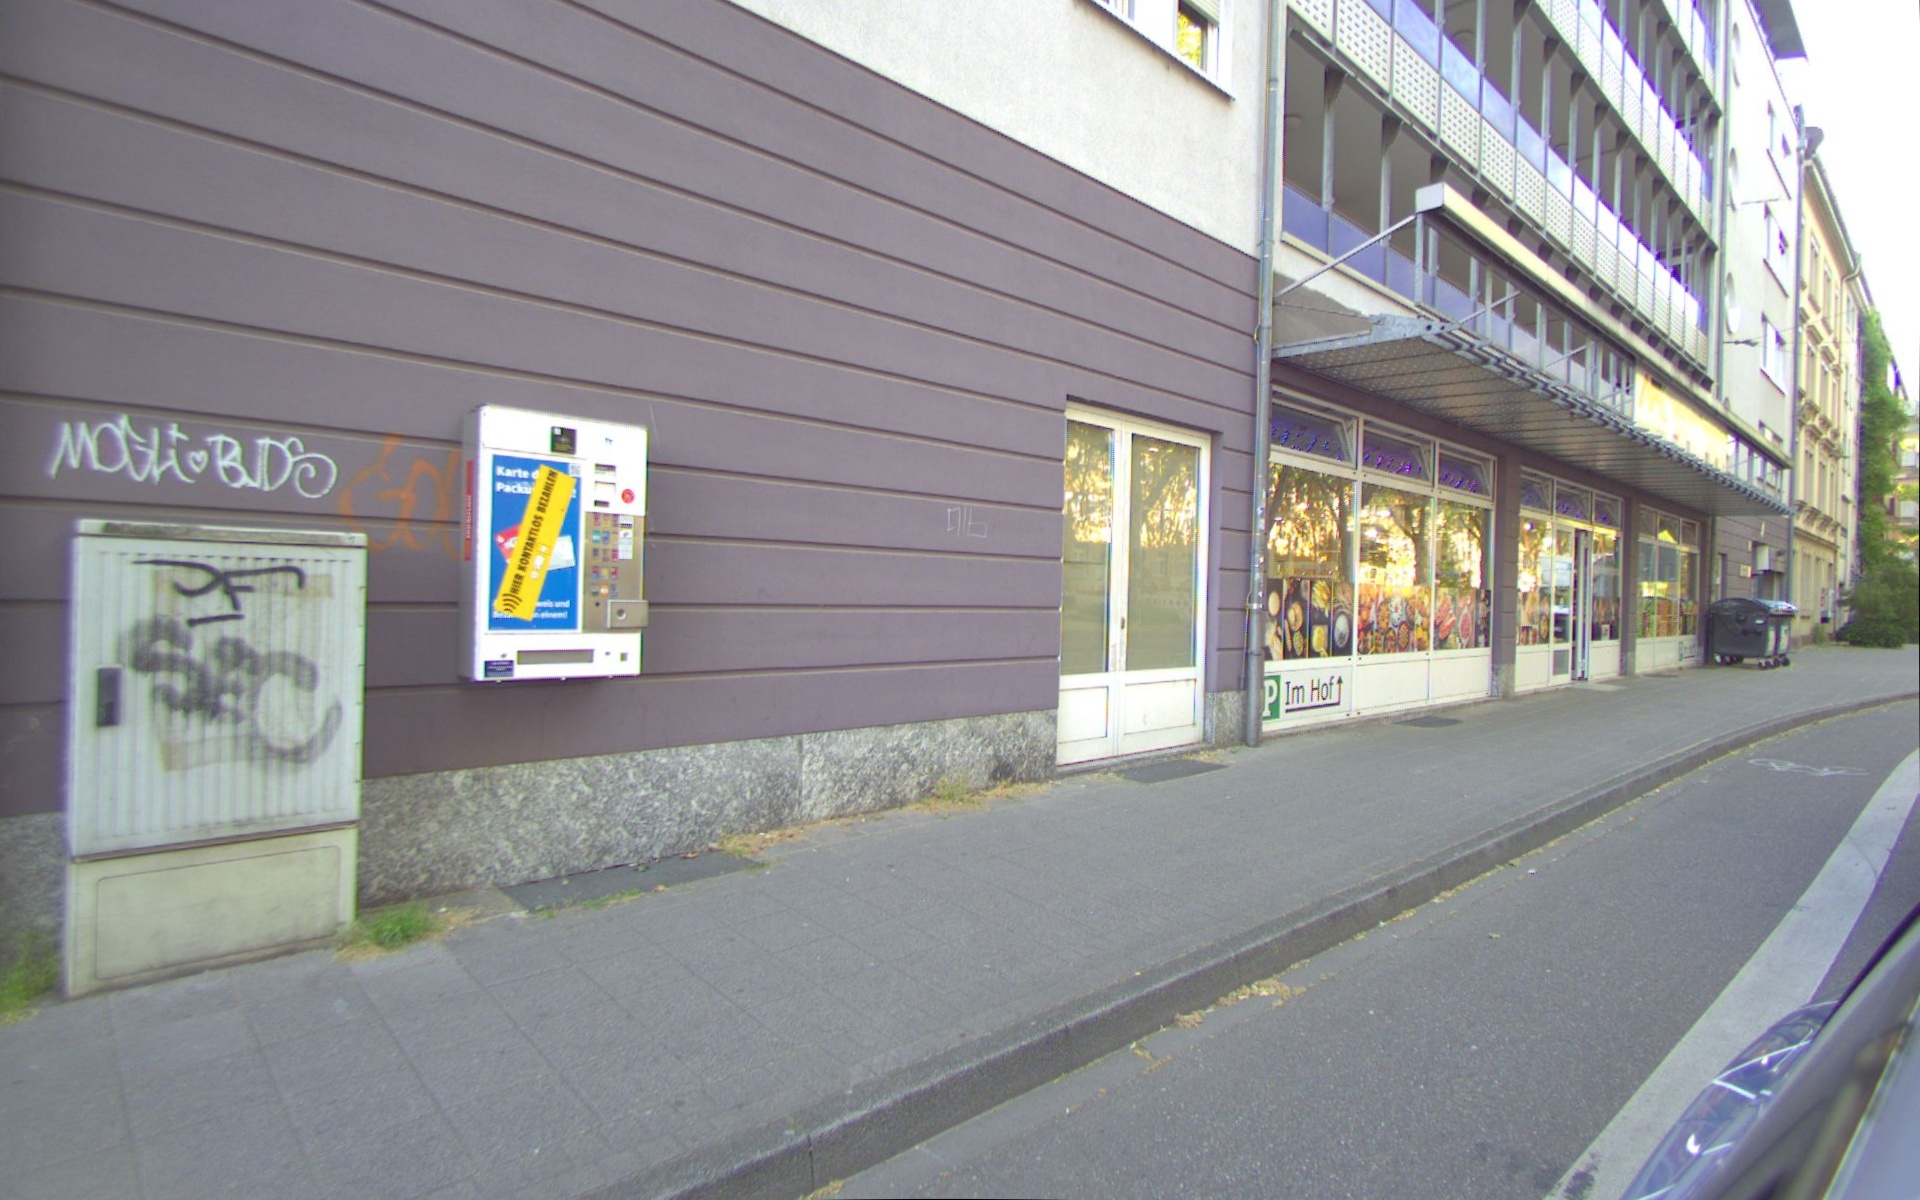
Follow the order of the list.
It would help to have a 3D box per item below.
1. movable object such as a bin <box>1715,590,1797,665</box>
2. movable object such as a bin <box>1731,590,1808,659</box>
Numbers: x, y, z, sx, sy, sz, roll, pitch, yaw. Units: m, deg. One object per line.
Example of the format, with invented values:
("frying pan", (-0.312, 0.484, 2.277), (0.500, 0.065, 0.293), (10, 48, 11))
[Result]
("movable object such as a bin", (16.323, 0.543, 20.763), (0.923, 1.444, 1.158), (1, 1, -40))
("movable object such as a bin", (17.742, 0.513, 22.187), (0.923, 1.444, 1.158), (1, 1, -40))
